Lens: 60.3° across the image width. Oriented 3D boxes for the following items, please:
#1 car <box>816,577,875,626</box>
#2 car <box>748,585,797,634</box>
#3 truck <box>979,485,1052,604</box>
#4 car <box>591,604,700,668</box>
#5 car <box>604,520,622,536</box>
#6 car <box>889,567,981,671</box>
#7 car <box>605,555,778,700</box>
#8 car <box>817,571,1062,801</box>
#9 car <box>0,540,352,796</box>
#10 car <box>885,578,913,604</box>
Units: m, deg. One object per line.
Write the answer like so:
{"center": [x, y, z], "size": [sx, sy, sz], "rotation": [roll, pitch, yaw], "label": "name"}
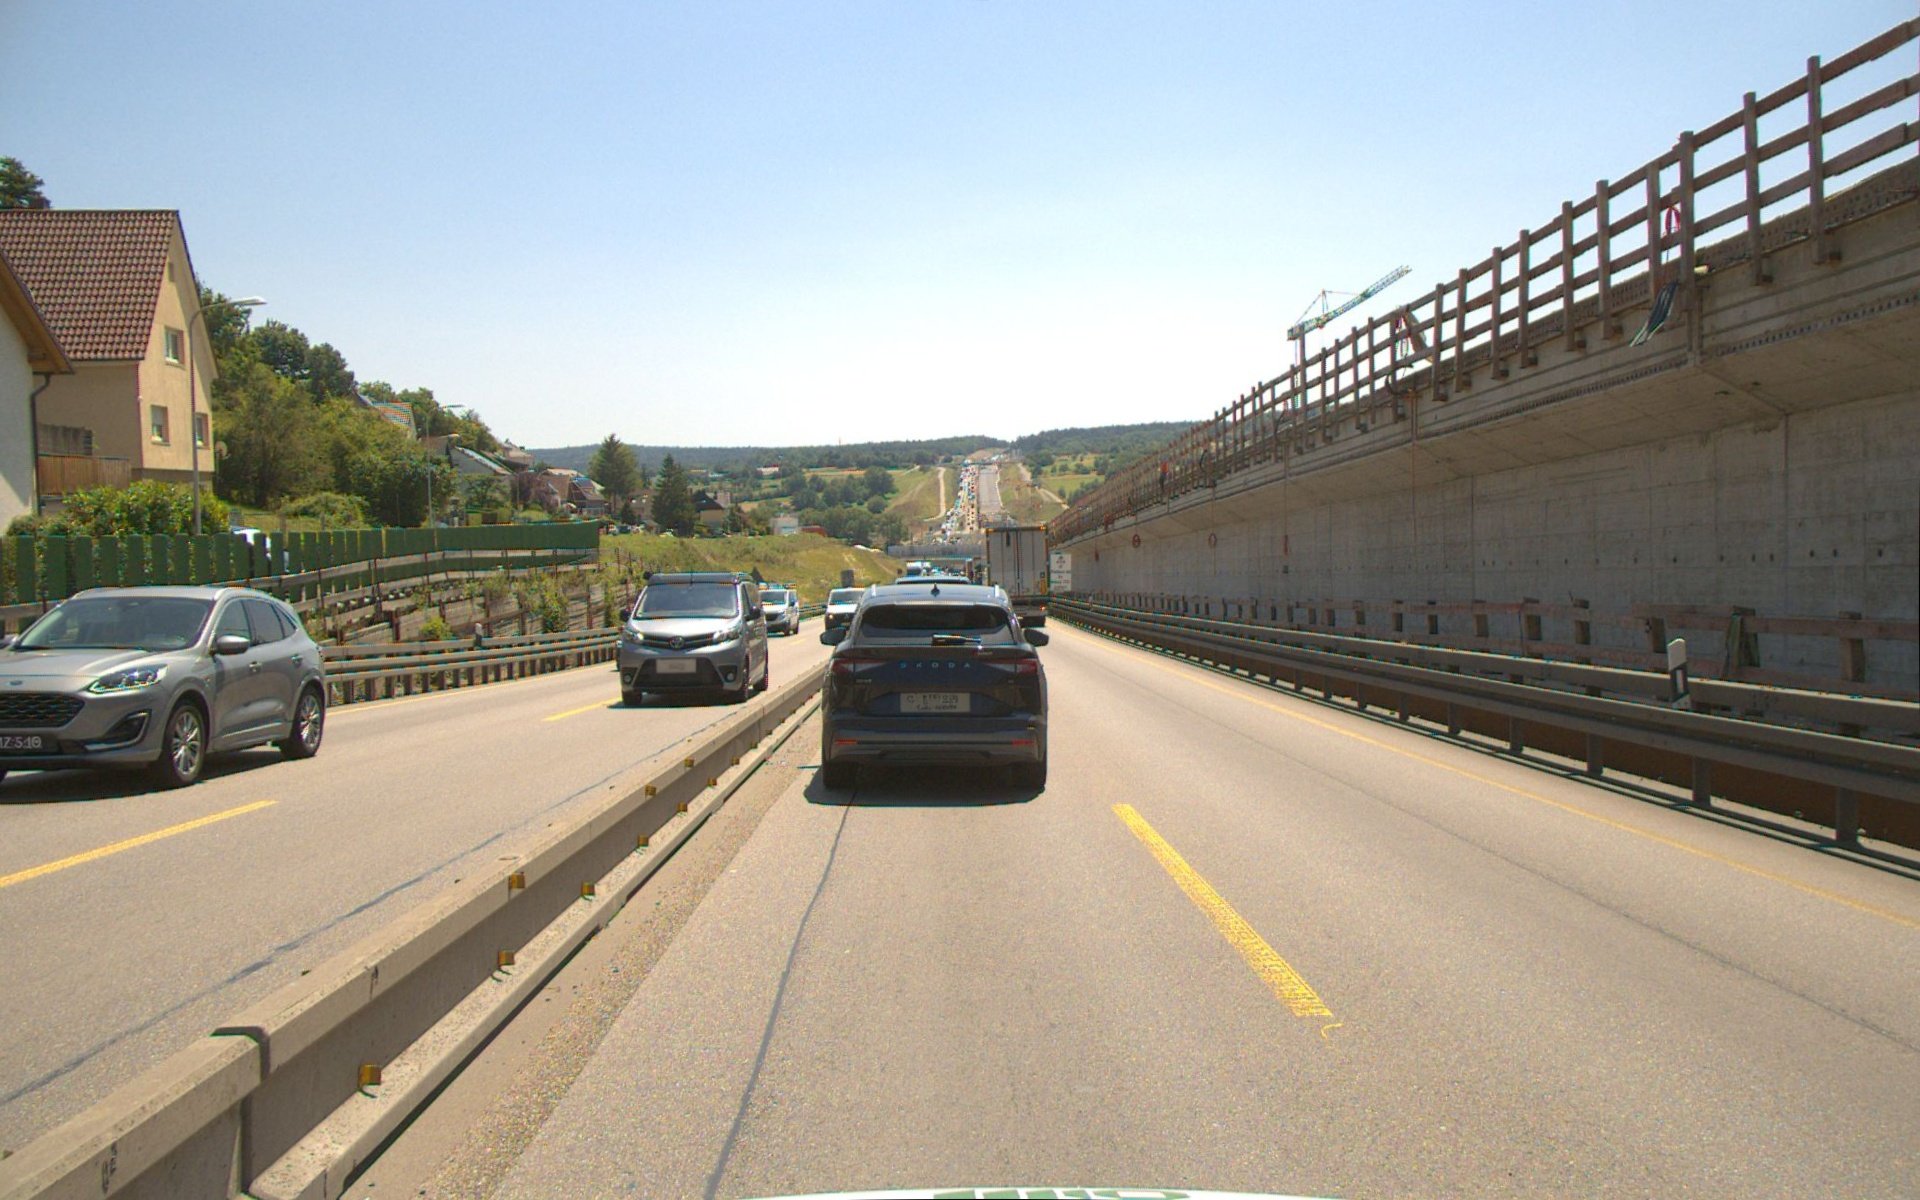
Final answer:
{"center": [-4.694, 0.072, 68.438], "size": [2.113, 1.939, 5.325], "rotation": [0, 0, -1], "label": "car"}
{"center": [-7.856, 0.370, 69.633], "size": [1.789, 1.959, 5.240], "rotation": [0, 0, -3], "label": "car"}
{"center": [2.289, -2.240, 72.727], "size": [2.787, 4.696, 11.811], "rotation": [-1, 0, 0], "label": "truck"}
{"center": [-7.760, 0.852, 41.146], "size": [1.953, 1.467, 4.362], "rotation": [1, 0, -2], "label": "car"}
{"center": [-42.094, -8.773, 200.733], "size": [1.890, 1.758, 3.990], "rotation": [-2, 1, -10], "label": "car"}
{"center": [-0.537, 0.347, 32.868], "size": [1.714, 1.928, 3.753], "rotation": [0, 0, -2], "label": "car"}
{"center": [-4.154, 0.410, 26.393], "size": [1.953, 2.049, 4.968], "rotation": [-1, 0, -1], "label": "car"}
{"center": [-0.190, 0.621, 14.034], "size": [1.747, 1.625, 3.754], "rotation": [-2, 0, -1], "label": "car"}
{"center": [-7.077, 0.518, 14.406], "size": [1.953, 1.859, 4.507], "rotation": [-1, 0, -2], "label": "car"}
{"center": [-4.052, -0.616, 110.281], "size": [1.738, 1.662, 4.099], "rotation": [-1, 0, -1], "label": "car"}
